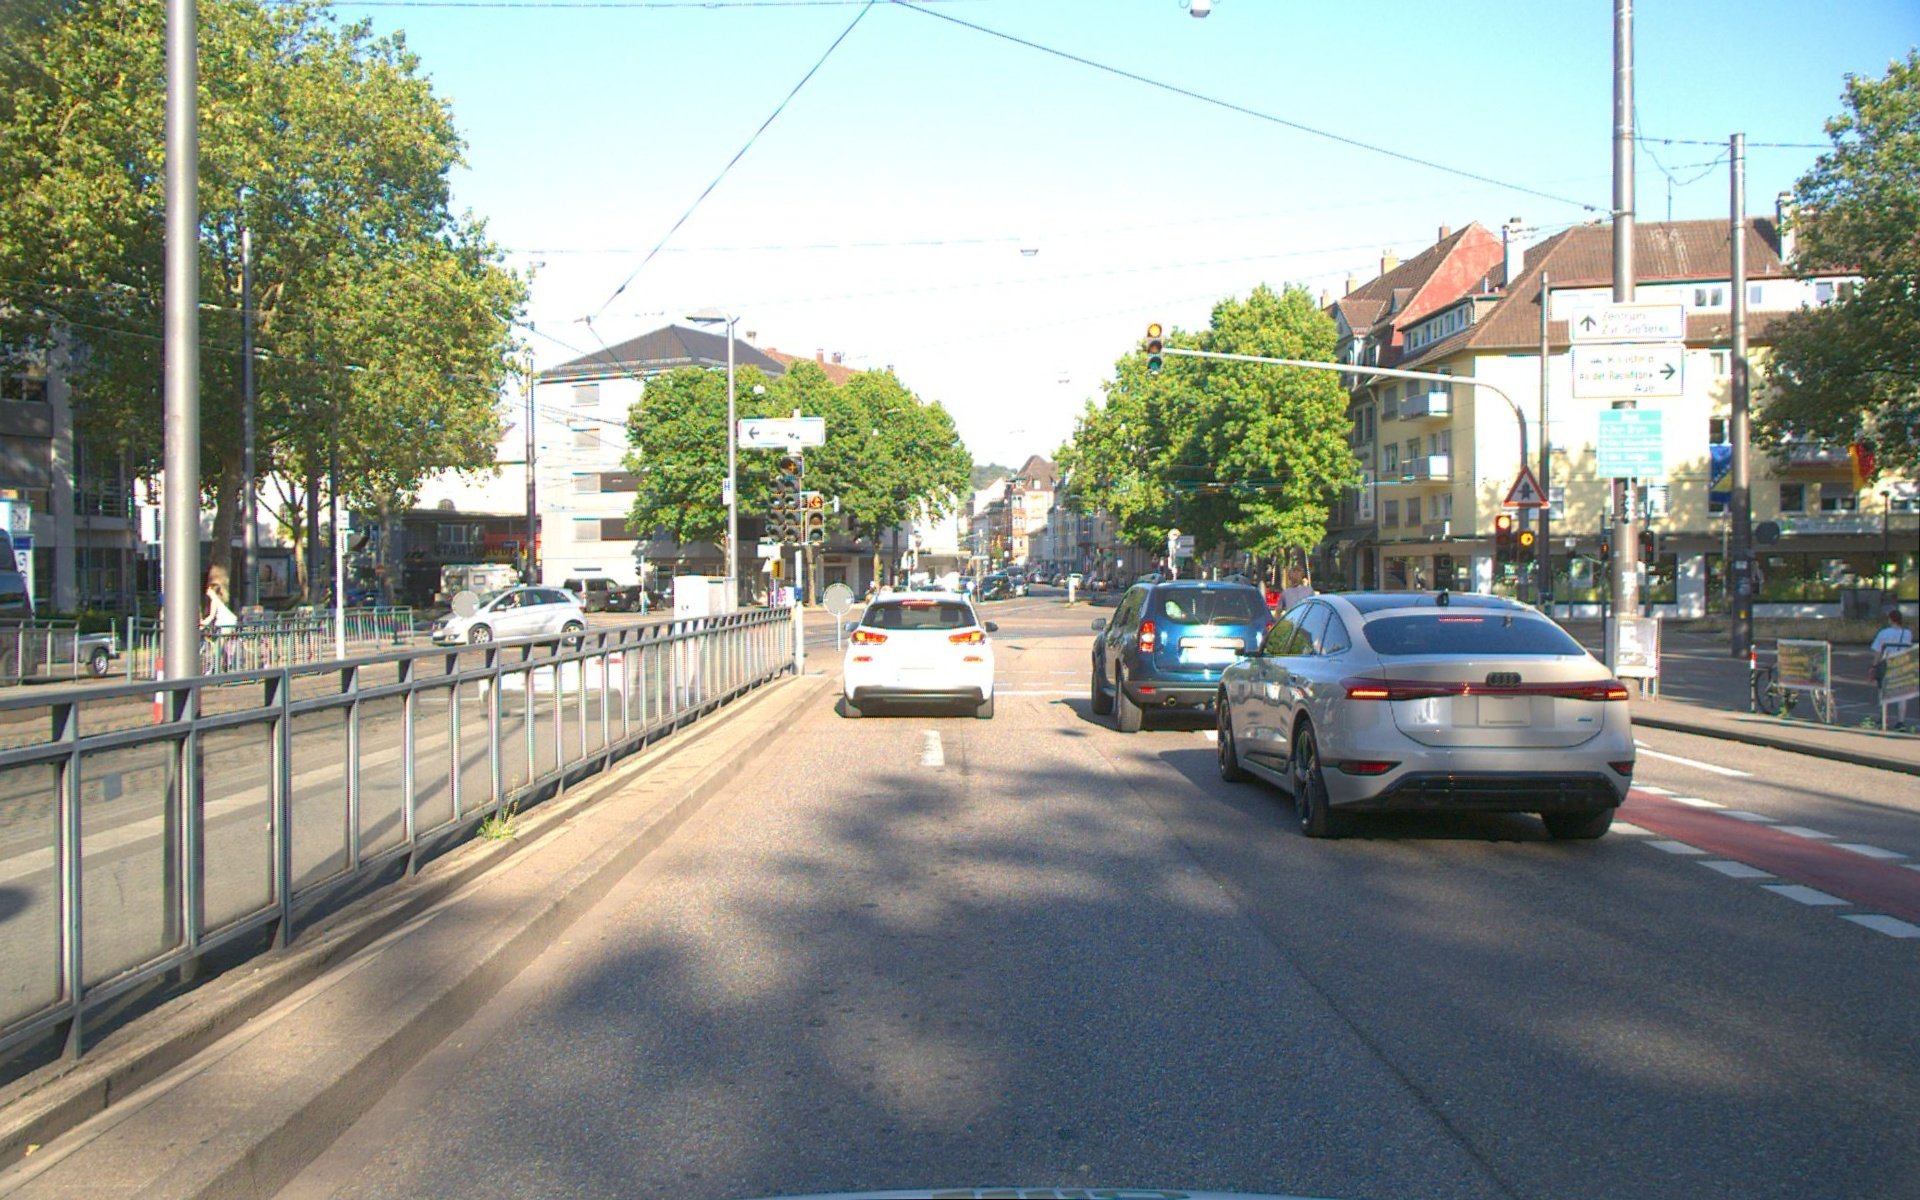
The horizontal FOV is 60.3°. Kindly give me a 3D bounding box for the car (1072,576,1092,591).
[{"bbox_3d":[12.674,-1.677,171.753,1.758,1.536,3.999,0,0,-1],"label":"car"}]

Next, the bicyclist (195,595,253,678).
[{"bbox_3d":[-12.902,0.630,29.010,0.518,1.439,0.797,0,0,44],"label":"bicyclist"}]

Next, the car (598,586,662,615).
[{"bbox_3d":[-19.553,0.033,98.121,1.881,1.677,4.181,0,0,20],"label":"car"}]

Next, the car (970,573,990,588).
[{"bbox_3d":[2.010,-1.967,166.335,1.758,1.536,3.999,0,0,-2],"label":"car"}]

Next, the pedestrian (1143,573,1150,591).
[{"bbox_3d":[17.664,-1.699,156.881,0.634,1.680,0.651,0,-1,10],"label":"pedestrian"}]

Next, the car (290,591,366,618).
[{"bbox_3d":[-36.442,0.239,95.381,3.904,1.537,1.800,0,0,20],"label":"car"}]

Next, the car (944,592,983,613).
[{"bbox_3d":[0.282,0.192,121.345,1.756,1.537,4.002,-1,0,18],"label":"car"}]

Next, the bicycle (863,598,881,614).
[{"bbox_3d":[-5.465,0.341,102.832,0.458,0.973,1.767,0,0,22],"label":"bicycle"}]

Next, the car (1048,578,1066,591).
[{"bbox_3d":[11.563,-1.886,197.134,1.758,1.549,3.999,0,0,-1],"label":"car"}]

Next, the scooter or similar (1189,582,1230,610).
[{"bbox_3d":[11.629,-0.192,77.168,1.915,1.303,0.550,0,0,41],"label":"scooter or similar"}]

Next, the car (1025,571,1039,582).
[{"bbox_3d":[9.885,-3.199,227.594,1.758,1.536,3.999,0,0,-1],"label":"car"}]

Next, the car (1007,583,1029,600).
[{"bbox_3d":[5.278,-0.752,151.471,1.758,1.536,3.999,0,0,-2],"label":"car"}]

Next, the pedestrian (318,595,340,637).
[{"bbox_3d":[-25.477,0.638,66.797,0.634,1.690,0.650,0,0,2],"label":"pedestrian"}]

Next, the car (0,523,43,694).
[{"bbox_3d":[-16.580,0.119,25.694,2.026,2.791,5.028,0,-1,-3],"label":"car"}]

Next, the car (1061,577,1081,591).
[{"bbox_3d":[11.918,-1.734,177.902,1.758,1.536,3.999,0,0,-1],"label":"car"}]

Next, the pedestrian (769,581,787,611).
[{"bbox_3d":[-11.009,-0.255,99.943,0.820,1.802,0.782,0,0,25],"label":"pedestrian"}]

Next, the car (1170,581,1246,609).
[{"bbox_3d":[13.961,-0.289,93.234,3.911,1.536,1.797,-1,0,-7],"label":"car"}]

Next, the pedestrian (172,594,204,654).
[{"bbox_3d":[-20.315,0.627,43.526,0.524,1.579,0.677,0,0,-1],"label":"pedestrian"}]

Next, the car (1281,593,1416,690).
[{"bbox_3d":[6.407,0.634,27.661,1.762,1.464,4.048,1,0,7],"label":"car"}]

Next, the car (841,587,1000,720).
[{"bbox_3d":[-0.483,0.589,20.501,1.771,1.478,3.999,0,0,-1],"label":"car"}]

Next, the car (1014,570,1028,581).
[{"bbox_3d":[9.108,-3.628,247.410,1.758,1.536,3.999,0,0,-1],"label":"car"}]

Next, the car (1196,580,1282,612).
[{"bbox_3d":[13.938,-0.212,82.773,3.914,1.536,1.796,-1,0,-10],"label":"car"}]

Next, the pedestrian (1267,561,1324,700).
[{"bbox_3d":[4.667,0.413,23.027,0.643,1.903,0.677,0,0,-1],"label":"pedestrian"}]

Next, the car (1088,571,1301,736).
[{"bbox_3d":[2.532,0.524,18.756,1.764,1.666,4.044,0,0,-1],"label":"car"}]

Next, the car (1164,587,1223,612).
[{"bbox_3d":[15.177,-0.040,107.465,3.968,1.536,1.772,-1,0,-43],"label":"car"}]

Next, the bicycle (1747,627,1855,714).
[{"bbox_3d":[11.119,0.911,21.921,0.488,1.093,1.800,1,-1,-1],"label":"bicycle"}]

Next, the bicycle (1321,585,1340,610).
[{"bbox_3d":[17.212,-0.114,76.845,0.596,1.127,1.801,0,0,4],"label":"bicycle"}]

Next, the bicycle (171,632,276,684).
[{"bbox_3d":[-12.902,1.006,29.011,0.518,0.830,1.605,0,0,44],"label":"bicycle"}]

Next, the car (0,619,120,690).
[{"bbox_3d":[-16.784,0.947,29.669,2.026,1.183,2.910,0,-1,-3],"label":"car"}]

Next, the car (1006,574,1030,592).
[{"bbox_3d":[5.026,-1.436,143.471,1.758,1.536,3.999,0,0,-2],"label":"car"}]

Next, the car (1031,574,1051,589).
[{"bbox_3d":[10.899,-2.503,222.143,2.280,2.049,4.975,0,0,-1],"label":"car"}]

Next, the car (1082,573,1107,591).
[{"bbox_3d":[13.456,-1.772,165.238,2.062,1.807,4.340,0,0,-1],"label":"car"}]

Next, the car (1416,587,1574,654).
[{"bbox_3d":[13.370,0.477,41.286,3.954,1.536,1.778,-1,2,-35],"label":"car"}]

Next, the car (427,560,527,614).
[{"bbox_3d":[-29.864,-0.817,102.577,2.445,3.220,6.535,0,0,22],"label":"car"}]

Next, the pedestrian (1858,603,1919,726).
[{"bbox_3d":[12.500,0.851,22.198,0.634,1.590,0.632,2,0,18],"label":"pedestrian"}]

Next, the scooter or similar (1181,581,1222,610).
[{"bbox_3d":[11.180,-0.201,76.611,1.915,1.303,0.550,0,0,41],"label":"scooter or similar"}]

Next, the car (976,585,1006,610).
[{"bbox_3d":[2.416,-0.217,128.814,1.756,1.858,4.004,0,0,9],"label":"car"}]

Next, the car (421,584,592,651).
[{"bbox_3d":[-12.156,0.438,44.467,1.791,1.722,4.130,0,0,45],"label":"car"}]

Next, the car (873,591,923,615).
[{"bbox_3d":[-4.014,0.186,107.227,1.689,1.537,3.874,-1,0,24],"label":"car"}]

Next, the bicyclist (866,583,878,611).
[{"bbox_3d":[-5.467,-0.181,102.833,0.458,1.776,0.717,0,0,22],"label":"bicyclist"}]

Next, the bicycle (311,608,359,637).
[{"bbox_3d":[-25.413,0.913,67.308,1.757,1.127,0.500,0,0,1],"label":"bicycle"}]

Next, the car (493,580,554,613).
[{"bbox_3d":[-26.779,-0.234,101.630,1.756,1.990,4.002,0,0,18],"label":"car"}]

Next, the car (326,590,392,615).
[{"bbox_3d":[-38.939,0.149,107.264,1.758,1.536,3.999,0,0,23],"label":"car"}]

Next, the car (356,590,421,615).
[{"bbox_3d":[-36.561,0.159,105.935,1.758,1.536,3.999,0,0,23],"label":"car"}]

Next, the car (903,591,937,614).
[{"bbox_3d":[-2.723,0.159,113.239,1.756,1.537,4.003,-1,0,6],"label":"car"}]

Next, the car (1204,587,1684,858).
[{"bbox_3d":[3.042,0.657,11.593,1.890,1.498,4.854,0,0,-1],"label":"car"}]
